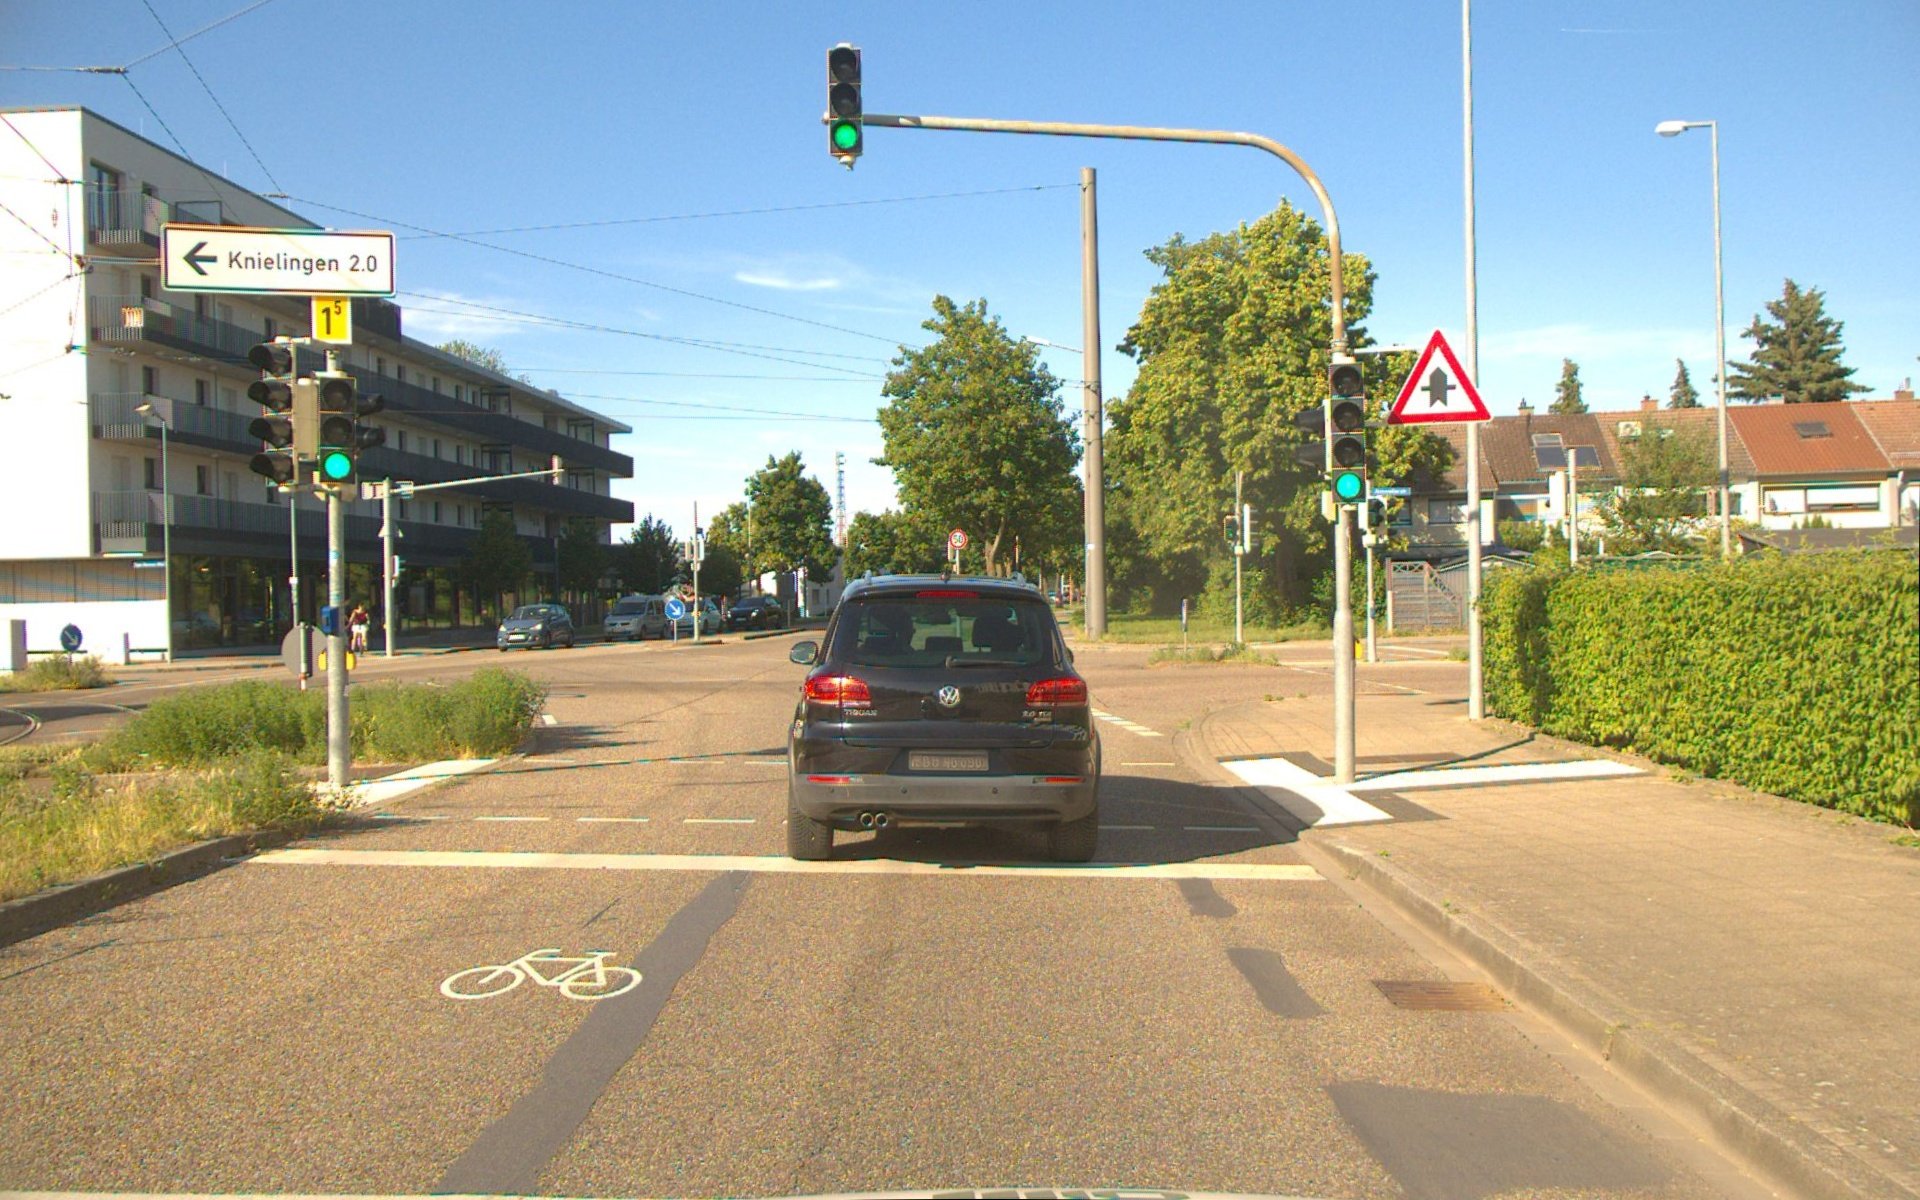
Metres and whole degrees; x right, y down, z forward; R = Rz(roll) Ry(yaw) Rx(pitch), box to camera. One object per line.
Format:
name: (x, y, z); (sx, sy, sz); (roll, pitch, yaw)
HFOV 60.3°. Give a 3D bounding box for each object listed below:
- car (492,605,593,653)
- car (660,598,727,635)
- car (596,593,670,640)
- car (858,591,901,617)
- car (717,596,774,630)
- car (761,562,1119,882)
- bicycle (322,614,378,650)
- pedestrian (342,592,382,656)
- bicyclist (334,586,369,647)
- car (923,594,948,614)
car: (-14.077, 0.964, 56.018); (1.659, 1.482, 4.457); (-1, 0, 9)
car: (-11.933, 0.728, 74.212); (1.951, 1.513, 3.547); (-3, 0, 7)
car: (-13.105, 0.641, 66.527); (1.952, 1.786, 4.363); (-1, 0, 2)
car: (-5.192, 0.257, 107.334); (1.951, 1.599, 4.003); (-2, 0, 9)
car: (-10.662, 0.627, 82.588); (1.926, 1.561, 4.742); (-1, 0, 3)
car: (-0.120, 0.648, 11.070); (1.890, 1.683, 4.514); (1, 0, 0)
bicycle: (-20.642, 1.067, 55.971); (1.603, 1.164, 0.745); (-2, 0, 7)
pedestrian: (-19.357, 0.769, 53.551); (0.957, 2.049, 0.760); (-1, 0, -1)
bicyclist: (-20.599, 0.556, 55.966); (0.775, 2.049, 0.812); (-1, 0, 7)
car: (-2.207, 0.368, 150.942); (1.952, 1.768, 5.201); (-1, 0, 3)
